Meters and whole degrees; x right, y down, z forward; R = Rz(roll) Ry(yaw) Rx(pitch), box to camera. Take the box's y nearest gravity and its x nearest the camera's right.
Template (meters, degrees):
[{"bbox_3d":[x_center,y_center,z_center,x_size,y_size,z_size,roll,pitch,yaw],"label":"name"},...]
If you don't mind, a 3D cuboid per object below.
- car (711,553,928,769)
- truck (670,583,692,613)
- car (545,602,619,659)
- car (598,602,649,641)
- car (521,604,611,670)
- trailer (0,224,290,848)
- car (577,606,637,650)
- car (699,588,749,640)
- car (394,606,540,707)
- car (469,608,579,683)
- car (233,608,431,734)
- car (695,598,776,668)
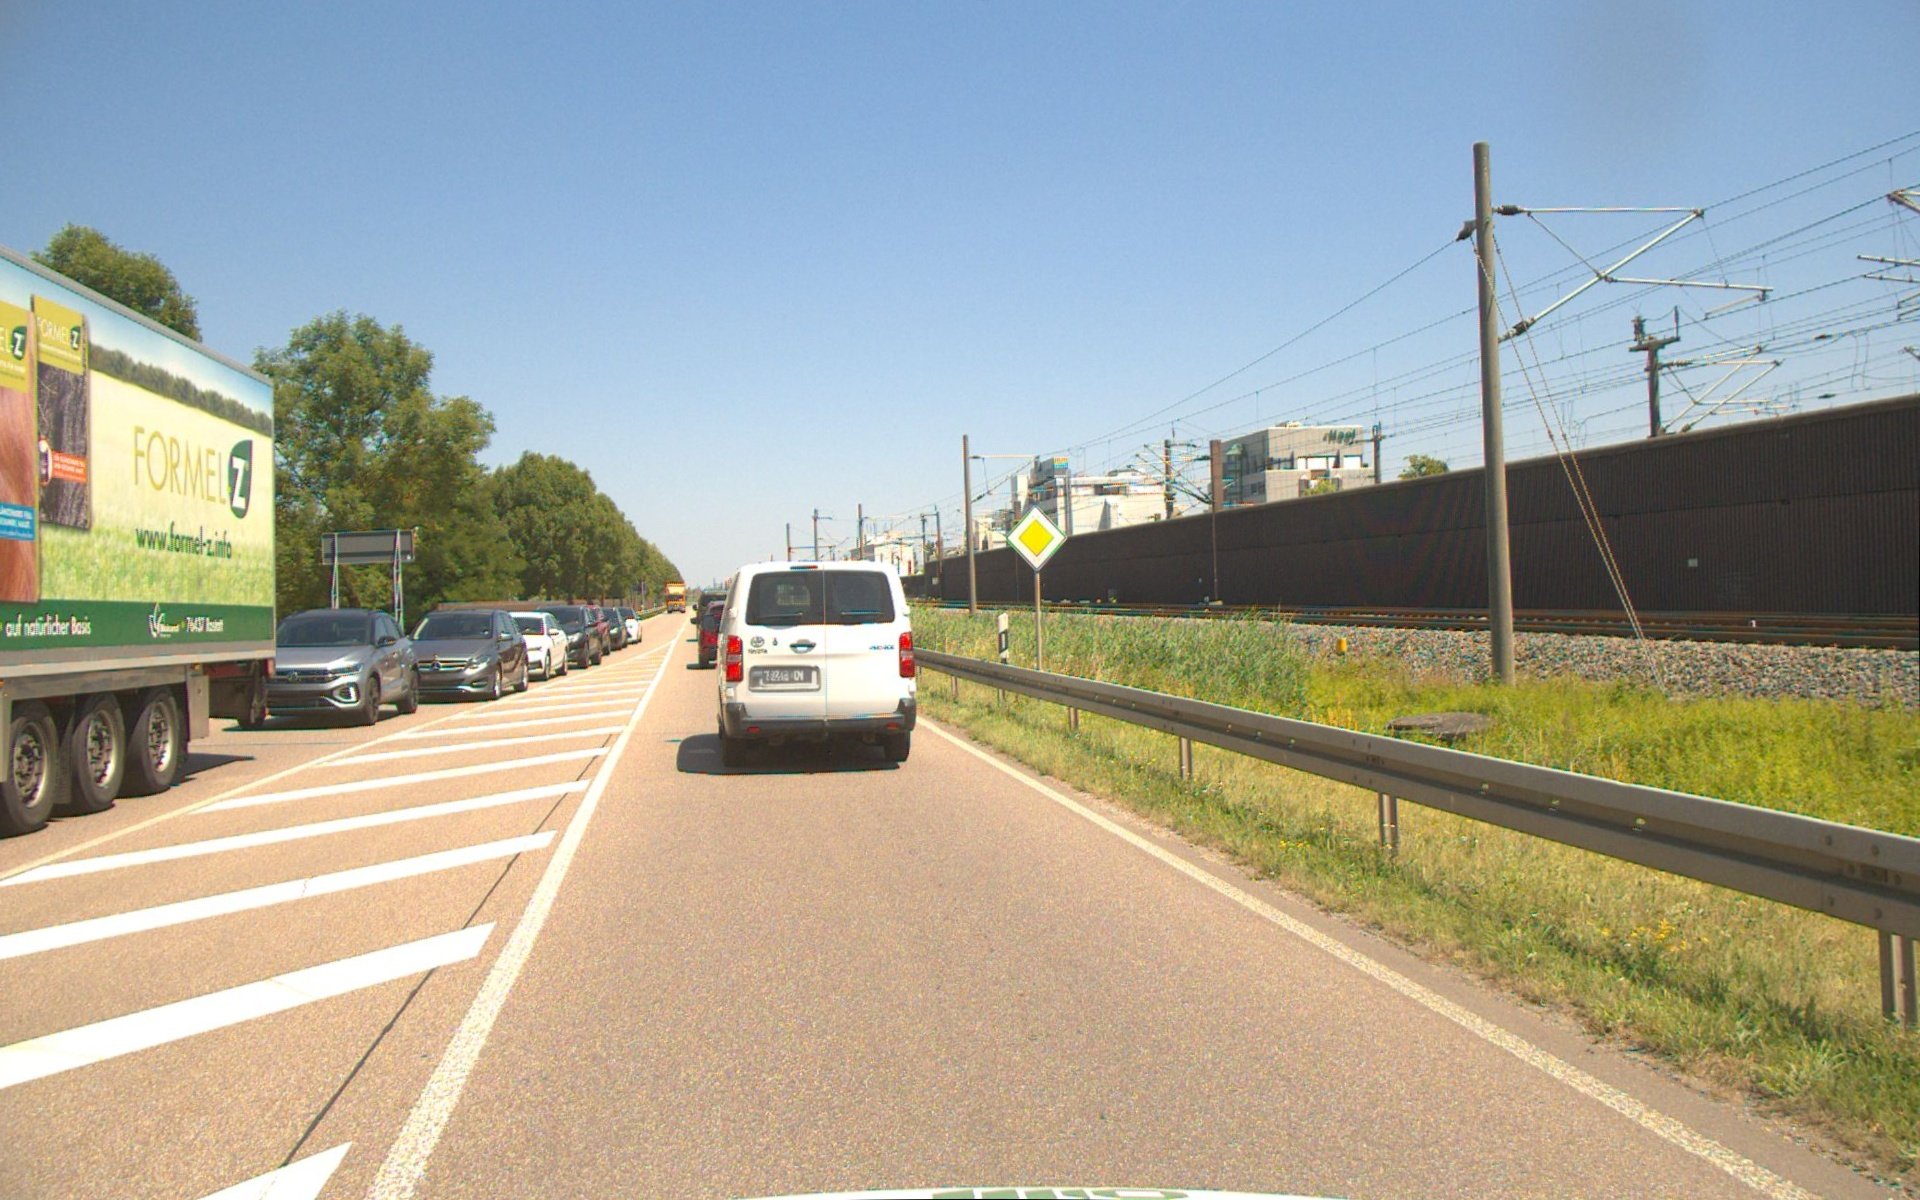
[{"bbox_3d":[-1.616,0.572,17.254,1.910,1.914,4.870,0,-1,-9],"label":"car"},{"bbox_3d":[-38.187,-0.287,226.748,2.741,3.907,9.304,-1,0,-9],"label":"truck"},{"bbox_3d":[-11.832,0.930,52.001,1.722,1.660,4.273,-1,0,-6],"label":"car"},{"bbox_3d":[-13.495,0.847,66.509,1.653,1.485,4.608,-1,0,-7],"label":"car"},{"bbox_3d":[-10.401,0.933,43.933,1.683,1.617,4.529,-1,0,-6],"label":"car"},{"bbox_3d":[-7.619,-0.412,10.652,2.639,4.116,14.099,-1,0,-8],"label":"trailer"},{"bbox_3d":[-12.610,0.968,59.228,1.653,1.485,4.609,-1,0,-7],"label":"car"},{"bbox_3d":[-9.948,0.558,69.581,1.970,2.058,4.774,-1,0,-8],"label":"car"},{"bbox_3d":[-8.764,0.949,29.733,1.592,1.564,4.380,-2,0,-5],"label":"car"},{"bbox_3d":[-9.722,0.972,37.188,1.621,1.504,4.625,-1,0,-5],"label":"car"},{"bbox_3d":[-8.905,0.932,23.806,1.679,1.589,4.148,-2,0,-7],"label":"car"},{"bbox_3d":[-5.789,0.807,42.318,1.871,1.678,4.131,-1,0,-10],"label":"car"}]
